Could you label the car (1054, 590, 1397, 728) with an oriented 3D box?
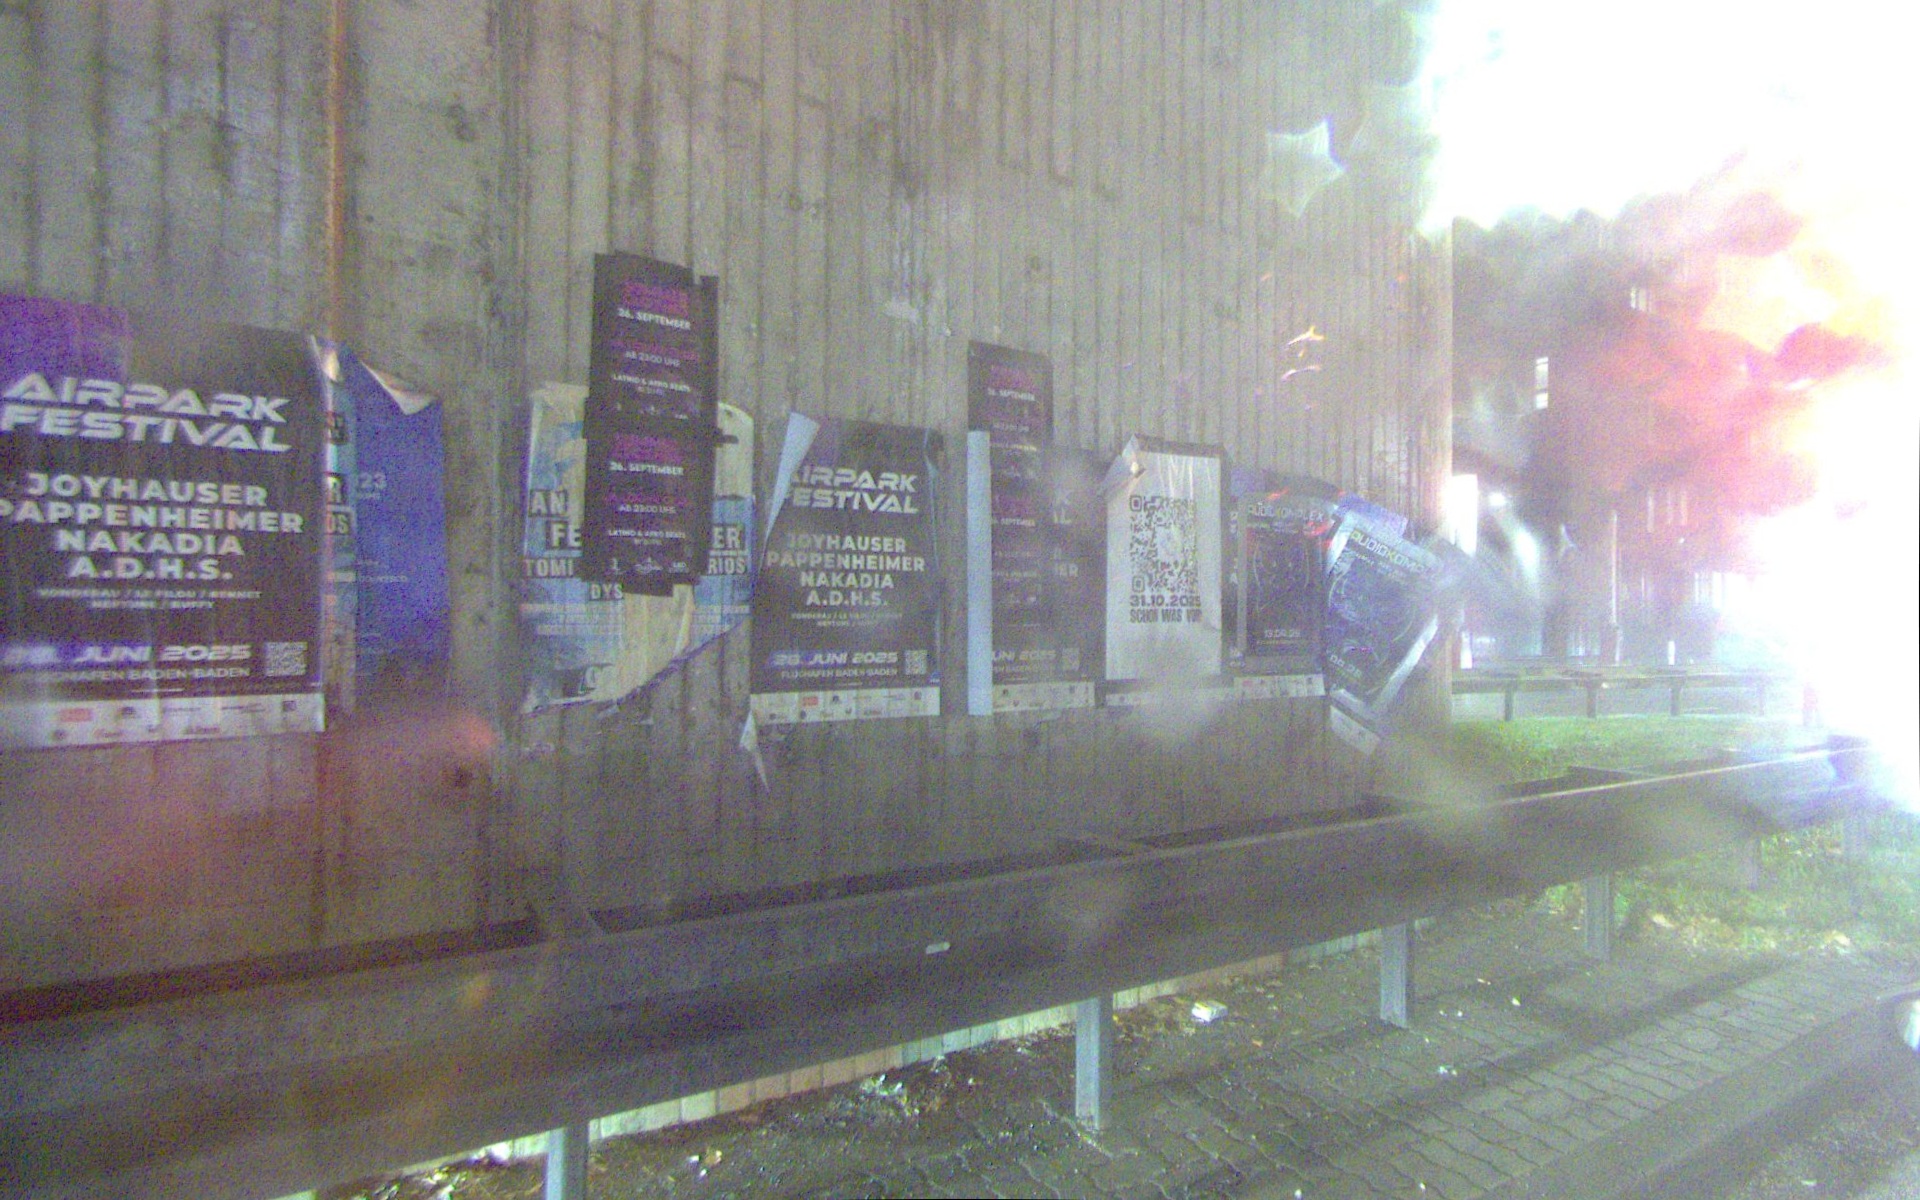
[{"bbox_3d":[4.212,0.915,16.200,5.021,2.011,1.995,1,-1,-13],"label":"car"}]
